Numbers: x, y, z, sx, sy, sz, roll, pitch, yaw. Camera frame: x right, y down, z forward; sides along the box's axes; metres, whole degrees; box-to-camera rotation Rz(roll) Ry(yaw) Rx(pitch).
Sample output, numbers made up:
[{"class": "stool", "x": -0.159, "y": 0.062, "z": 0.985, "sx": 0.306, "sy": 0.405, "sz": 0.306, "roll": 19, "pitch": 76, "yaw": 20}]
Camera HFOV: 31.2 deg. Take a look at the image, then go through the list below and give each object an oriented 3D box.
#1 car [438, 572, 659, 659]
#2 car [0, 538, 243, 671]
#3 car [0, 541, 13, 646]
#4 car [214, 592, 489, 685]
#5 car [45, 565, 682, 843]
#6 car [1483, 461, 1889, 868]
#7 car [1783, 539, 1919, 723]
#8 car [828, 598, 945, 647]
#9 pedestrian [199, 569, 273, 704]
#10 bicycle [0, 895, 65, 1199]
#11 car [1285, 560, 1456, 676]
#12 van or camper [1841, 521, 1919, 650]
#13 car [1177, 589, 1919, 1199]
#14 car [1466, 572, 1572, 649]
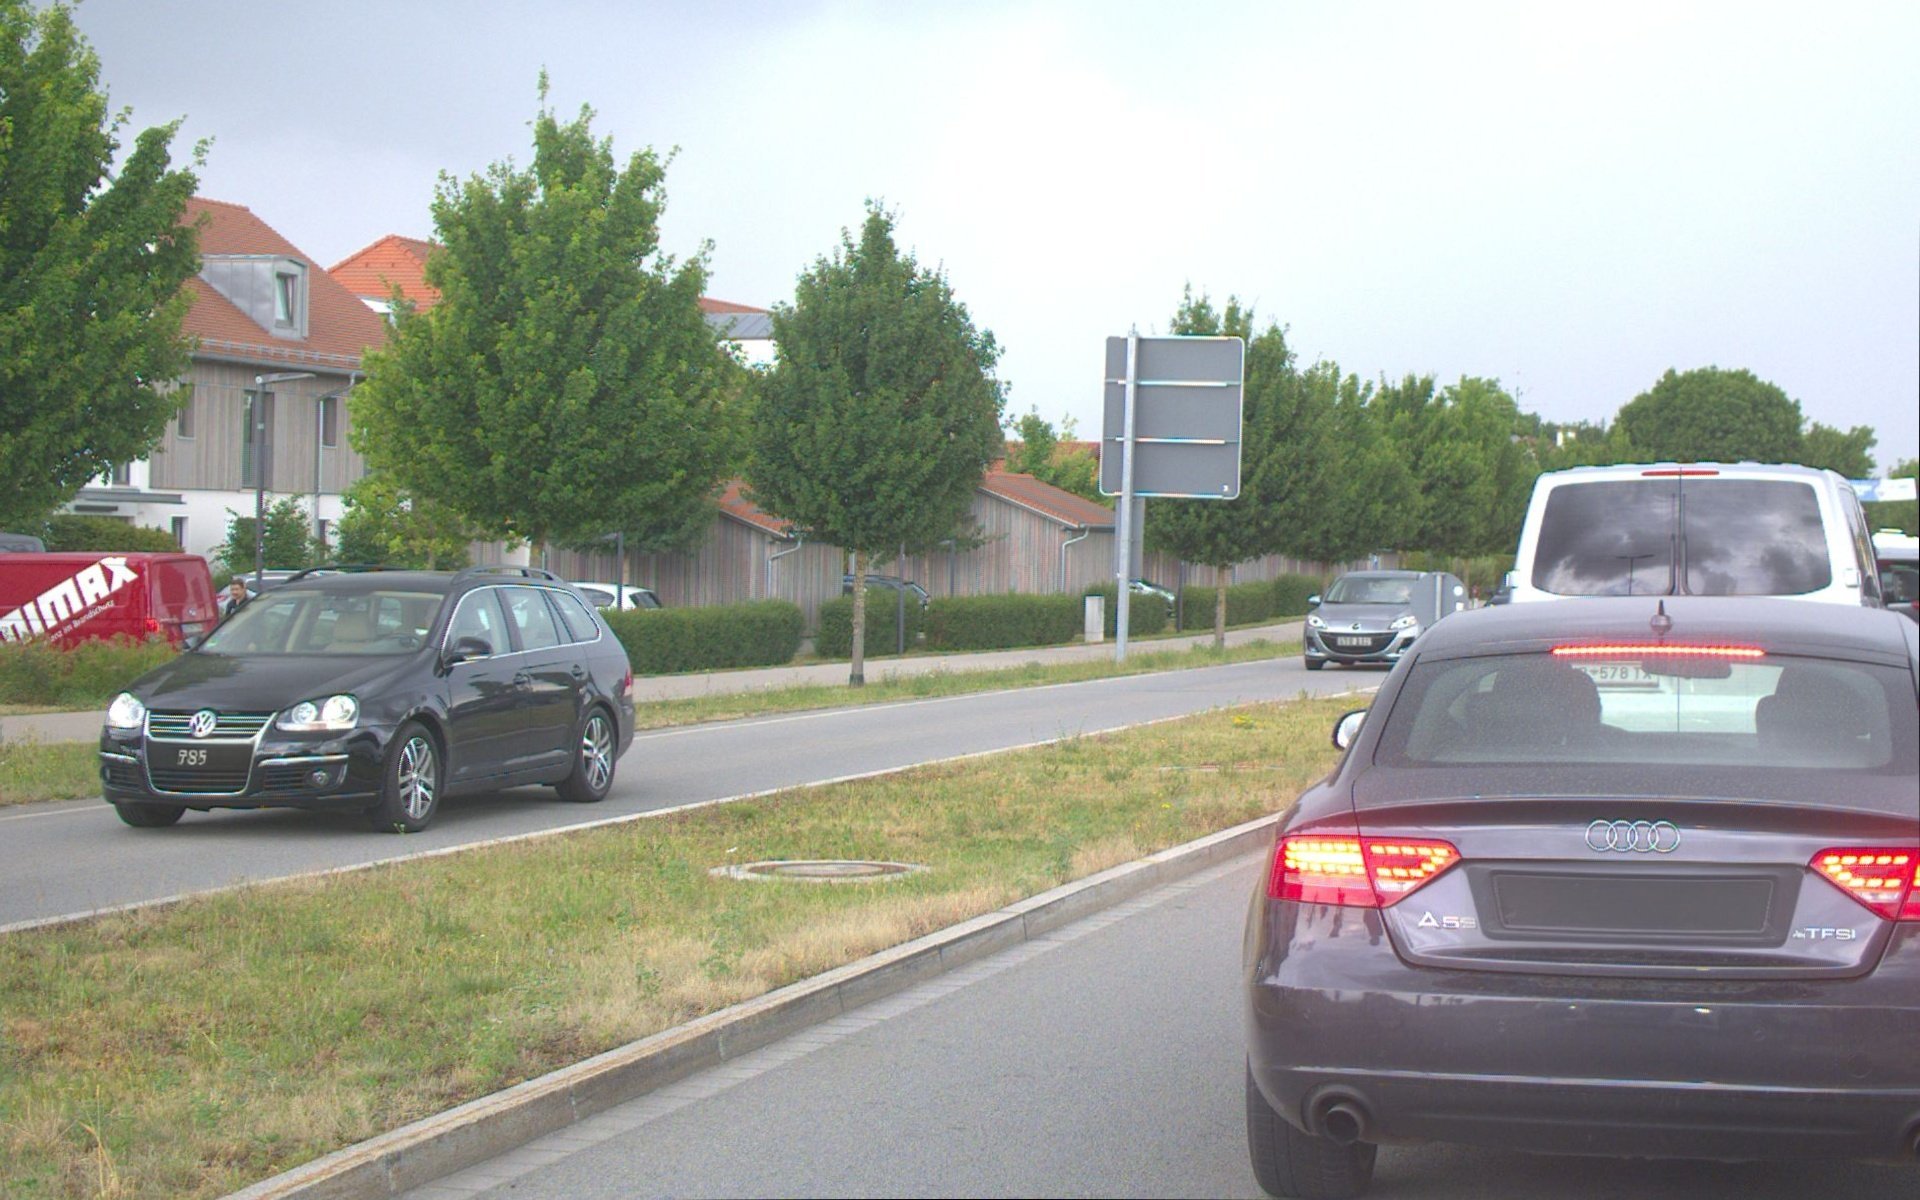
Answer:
[{"class": "car", "x": -7.719, "y": 0.275, "z": 64.566, "sx": 3.731, "sy": 1.477, "sz": 1.685, "roll": 2, "pitch": 1, "yaw": 13}, {"class": "car", "x": -12.326, "y": 0.016, "z": 46.991, "sx": 4.535, "sy": 1.674, "sz": 1.998, "roll": 2, "pitch": 1, "yaw": 19}, {"class": "car", "x": -17.705, "y": -0.142, "z": 56.212, "sx": 1.996, "sy": 1.766, "sz": 4.460, "roll": 2, "pitch": 0, "yaw": 21}, {"class": "car", "x": -9.772, "y": 0.599, "z": 55.286, "sx": 3.917, "sy": 1.310, "sz": 1.841, "roll": 2, "pitch": 1, "yaw": 14}, {"class": "car", "x": -3.328, "y": 0.516, "z": 20.145, "sx": 1.755, "sy": 1.411, "sz": 4.451, "roll": 1, "pitch": 1, "yaw": 19}, {"class": "car", "x": 3.998, "y": 0.305, "z": 18.649, "sx": 1.868, "sy": 1.927, "sz": 3.997, "roll": -2, "pitch": 0, "yaw": 14}, {"class": "car", "x": 8.841, "y": 0.266, "z": 32.709, "sx": 1.778, "sy": 1.612, "sz": 3.997, "roll": 2, "pitch": 1, "yaw": 15}, {"class": "car", "x": -1.675, "y": 0.512, "z": 78.683, "sx": 2.473, "sy": 1.025, "sz": 1.185, "roll": 2, "pitch": 1, "yaw": 11}, {"class": "pedestrian", "x": -8.470, "y": 0.420, "z": 40.242, "sx": 0.582, "sy": 1.553, "sz": 0.659, "roll": 2, "pitch": 1, "yaw": 14}, {"class": "bicycle", "x": -2.258, "y": 0.928, "z": 5.157, "sx": 1.708, "sy": 0.943, "sz": 0.497, "roll": 0, "pitch": 0, "yaw": 6}, {"class": "car", "x": 6.122, "y": 0.234, "z": 50.909, "sx": 1.731, "sy": 1.405, "sz": 4.203, "roll": 6, "pitch": 3, "yaw": 16}, {"class": "van or camper", "x": 25.365, "y": -0.360, "z": 93.189, "sx": 2.627, "sy": 3.312, "sz": 6.816, "roll": 2, "pitch": 0, "yaw": 15}, {"class": "car", "x": 1.817, "y": 0.706, "z": 8.766, "sx": 1.785, "sy": 1.387, "sz": 4.130, "roll": 2, "pitch": 1, "yaw": 14}, {"class": "car", "x": 12.169, "y": 0.197, "z": 74.705, "sx": 1.868, "sy": 1.568, "sz": 3.997, "roll": 2, "pitch": 1, "yaw": 14}]
